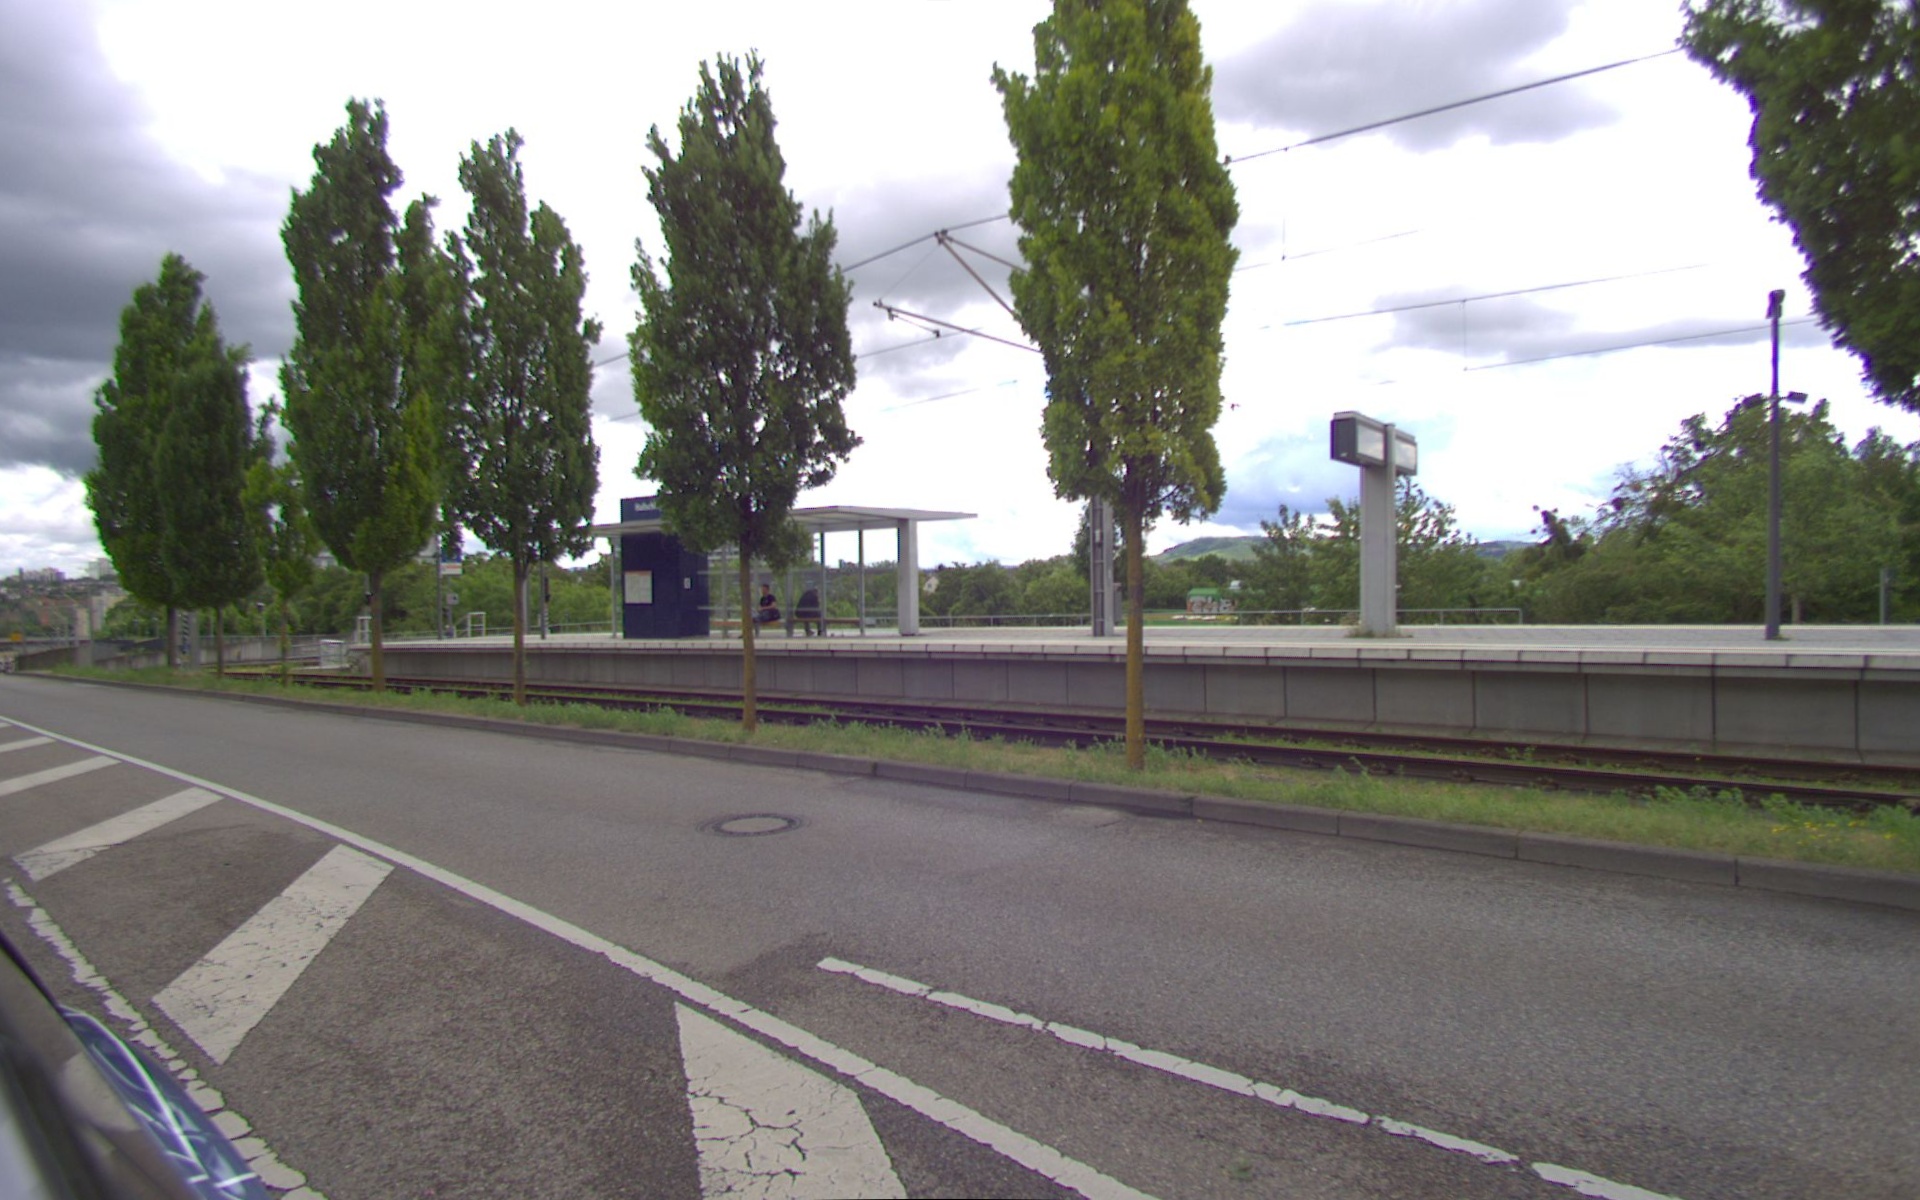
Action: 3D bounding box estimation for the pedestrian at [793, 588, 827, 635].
[{"bbox_3d":[-3.500,0.268,23.549,0.470,1.087,0.601,-3,-2,39],"label":"pedestrian"}]

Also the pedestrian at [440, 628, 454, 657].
[{"bbox_3d":[-29.173,2.410,57.548,0.646,1.637,0.501,-4,-3,45],"label":"pedestrian"}]

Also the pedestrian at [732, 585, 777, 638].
[{"bbox_3d":[-4.781,0.274,23.532,0.665,1.208,0.754,-2,-2,39],"label":"pedestrian"}]

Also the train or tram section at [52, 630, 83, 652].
[{"bbox_3d":[-142.610,6.632,161.564,2.749,3.218,18.485,0,-2,-44],"label":"train or tram section"}]
